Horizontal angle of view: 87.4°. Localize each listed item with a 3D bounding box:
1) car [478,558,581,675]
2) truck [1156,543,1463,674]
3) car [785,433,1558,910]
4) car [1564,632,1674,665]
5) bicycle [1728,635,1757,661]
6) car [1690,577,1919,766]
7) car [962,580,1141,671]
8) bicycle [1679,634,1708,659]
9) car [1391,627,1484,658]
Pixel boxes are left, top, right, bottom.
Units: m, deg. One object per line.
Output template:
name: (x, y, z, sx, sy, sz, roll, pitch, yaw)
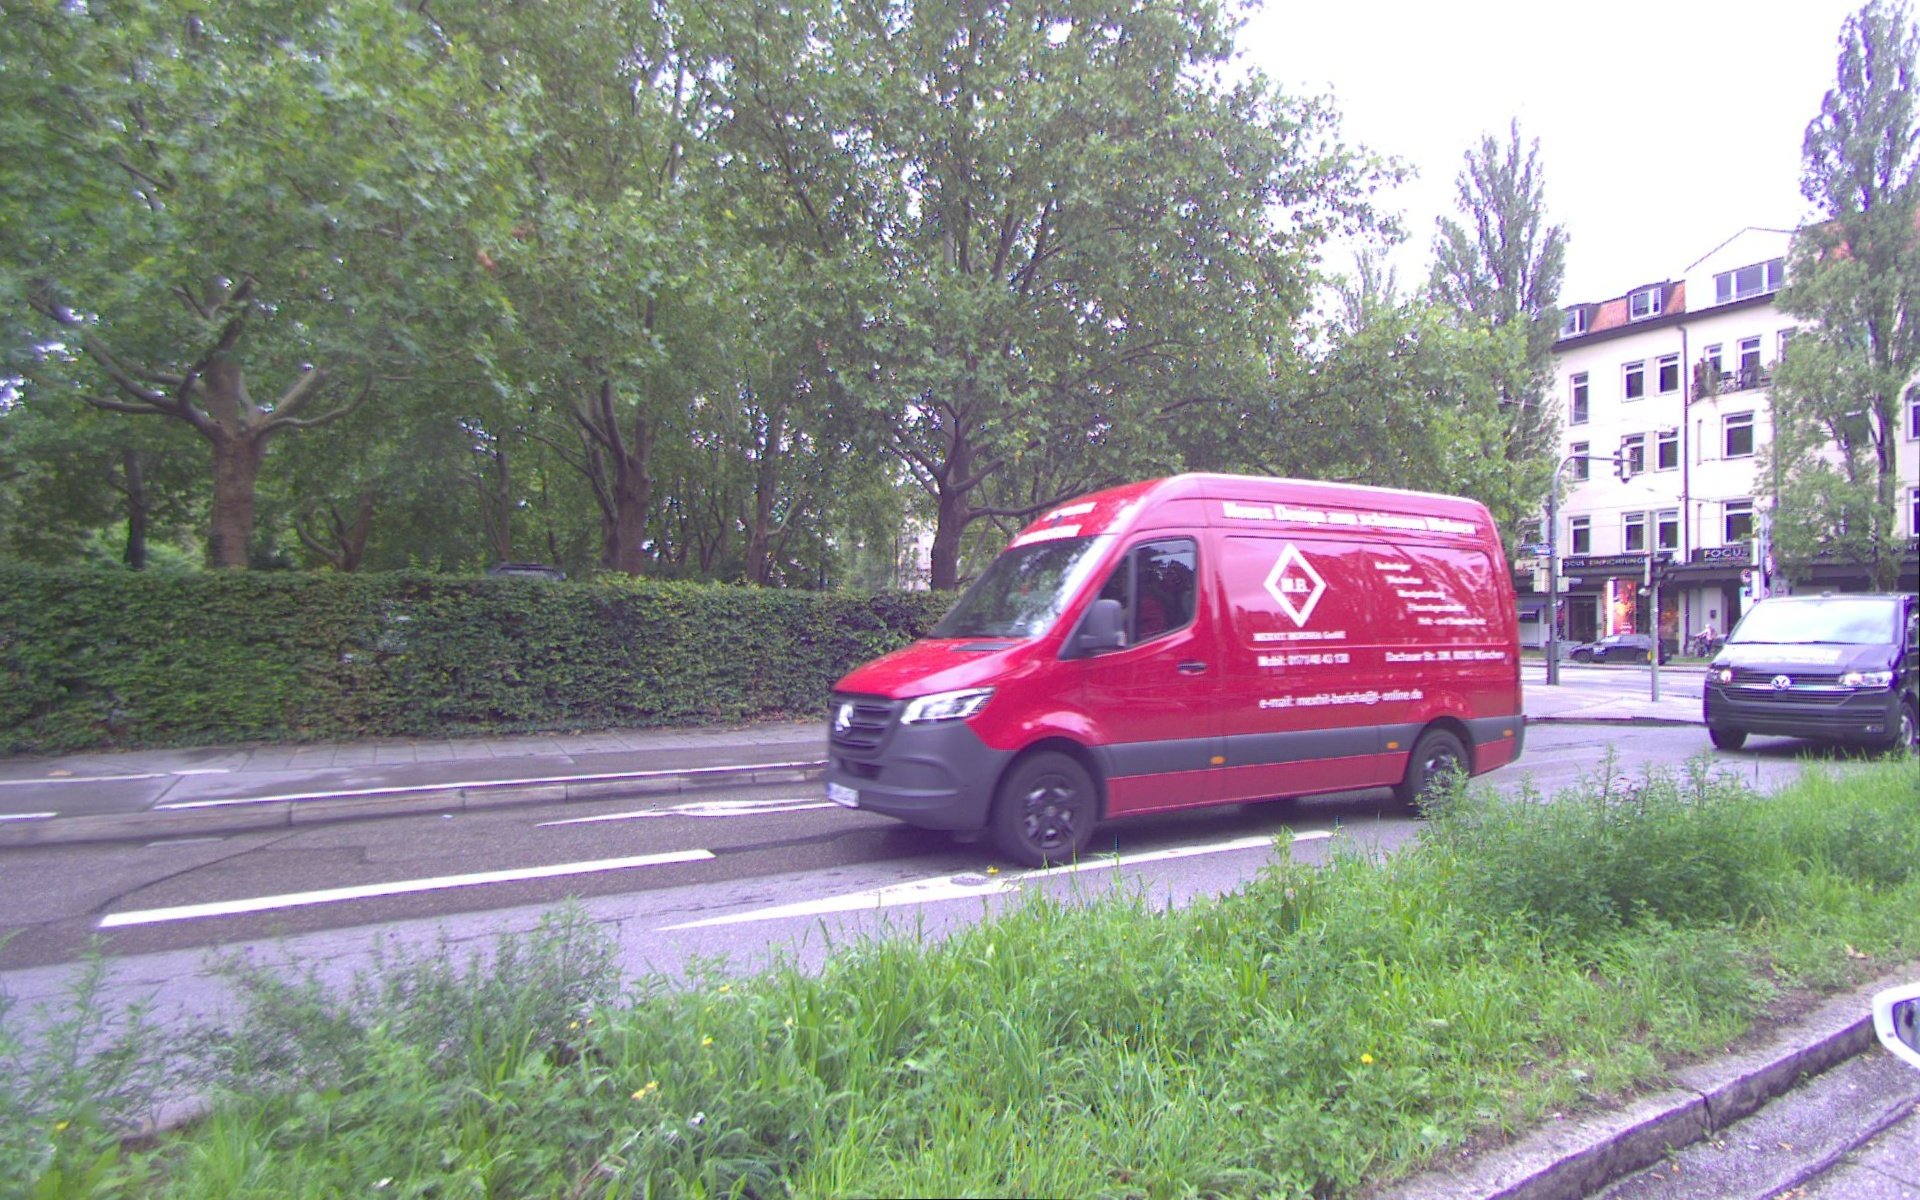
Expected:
car: (-10.899, 0.364, 25.170, 1.974, 2.569, 5.823, 2, 0, -27)
truck: (12.095, 0.404, 36.661, 2.716, 4.033, 11.623, 0, -1, -30)
car: (1.847, 0.412, 7.902, 6.005, 2.623, 2.095, 0, -1, -28)
car: (30.908, 2.261, 47.214, 1.786, 1.485, 3.964, 2, -2, -33)
bicycle: (36.157, 2.210, 46.397, 1.869, 1.200, 0.492, 1, -2, -33)
car: (11.330, 0.819, 12.842, 4.658, 2.017, 1.845, 1, -2, -35)
car: (2.532, 0.710, 27.386, 4.536, 2.040, 2.001, -5, -1, 11)
bicycle: (35.228, 2.217, 48.227, 1.869, 1.200, 0.492, 1, -2, -33)
car: (26.098, 2.309, 55.049, 1.706, 1.633, 4.435, 1, -2, -30)
